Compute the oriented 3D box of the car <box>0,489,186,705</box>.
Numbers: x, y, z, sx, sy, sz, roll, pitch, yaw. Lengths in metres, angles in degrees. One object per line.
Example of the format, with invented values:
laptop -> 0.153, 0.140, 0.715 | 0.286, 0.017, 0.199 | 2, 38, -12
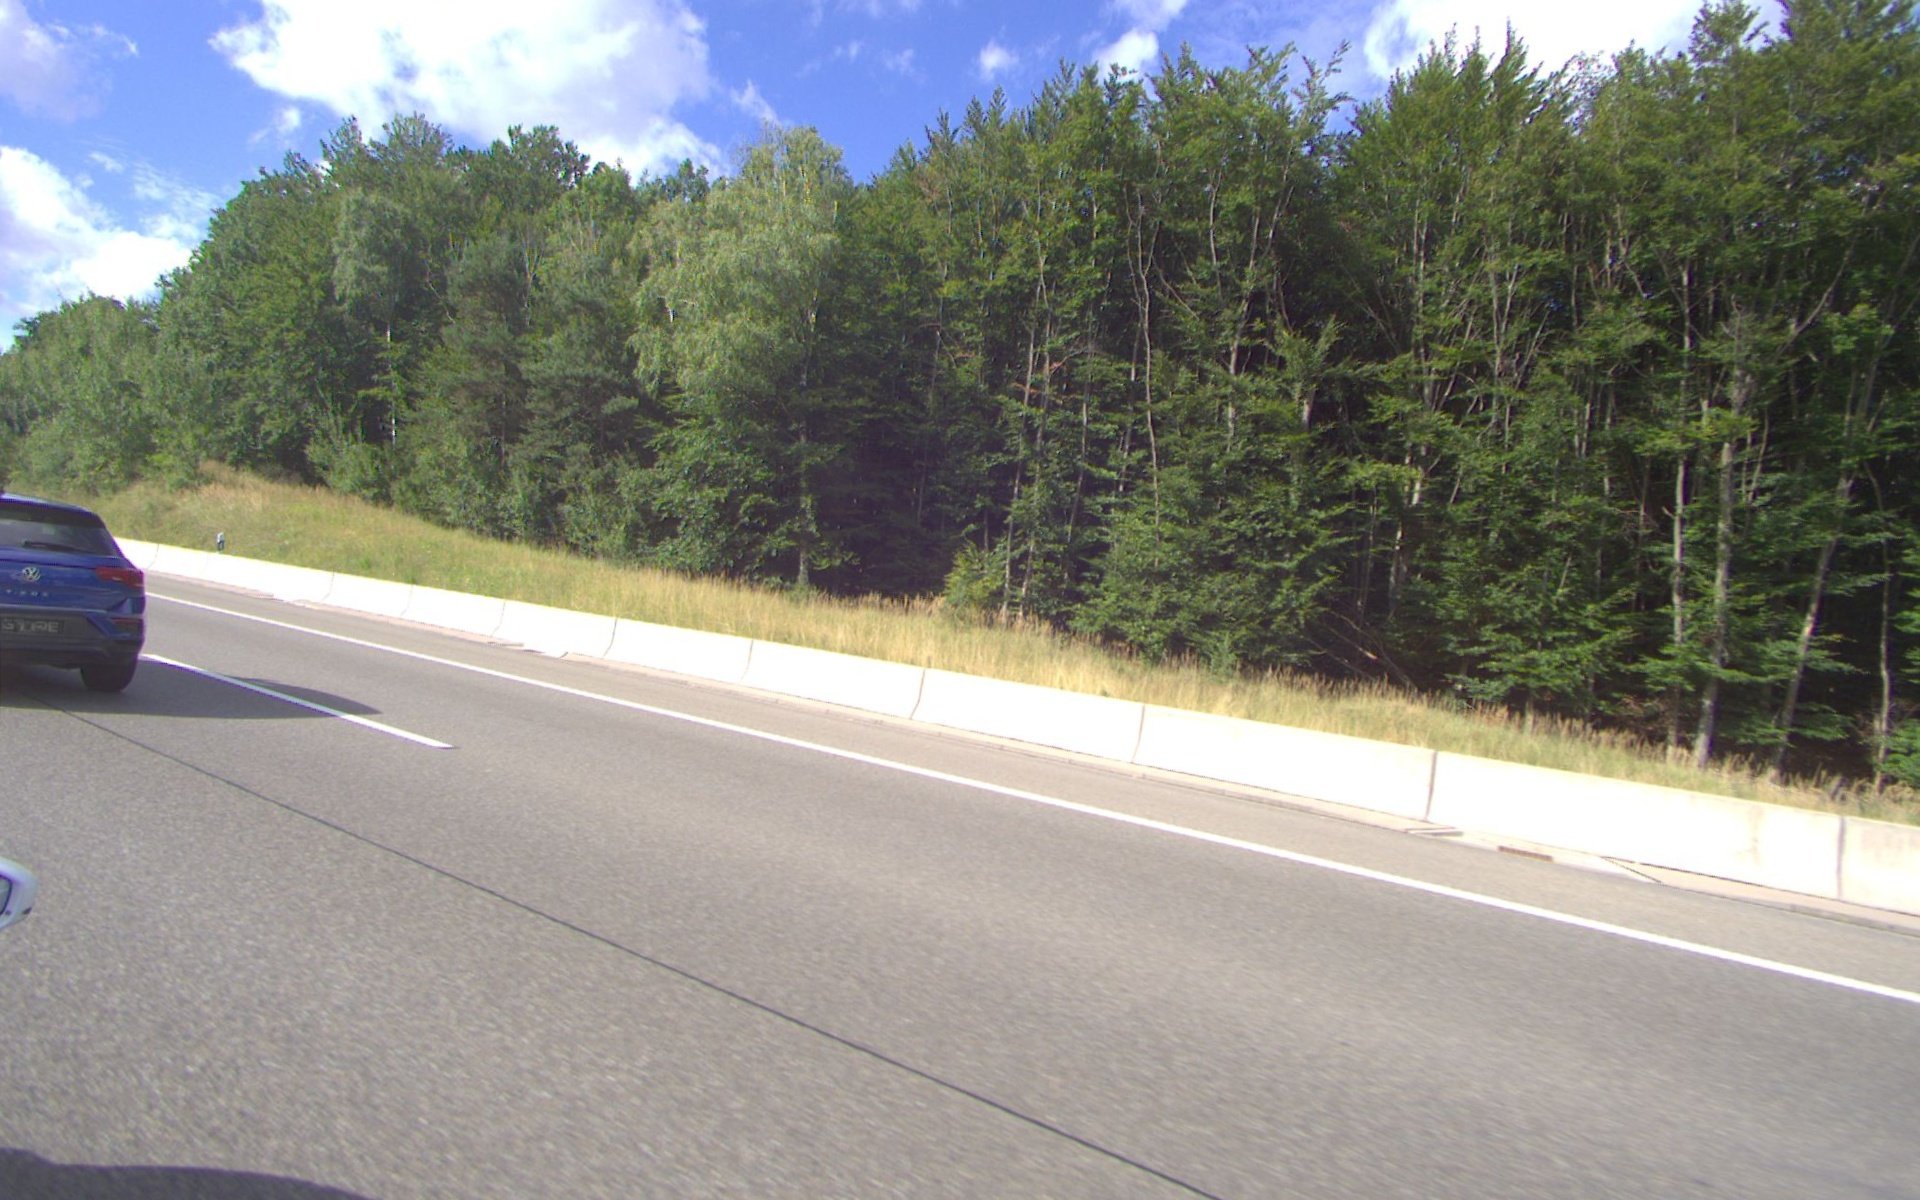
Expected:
car -> -8.636, -0.216, 8.550 | 4.384, 1.548, 1.775 | 7, -1, 33
